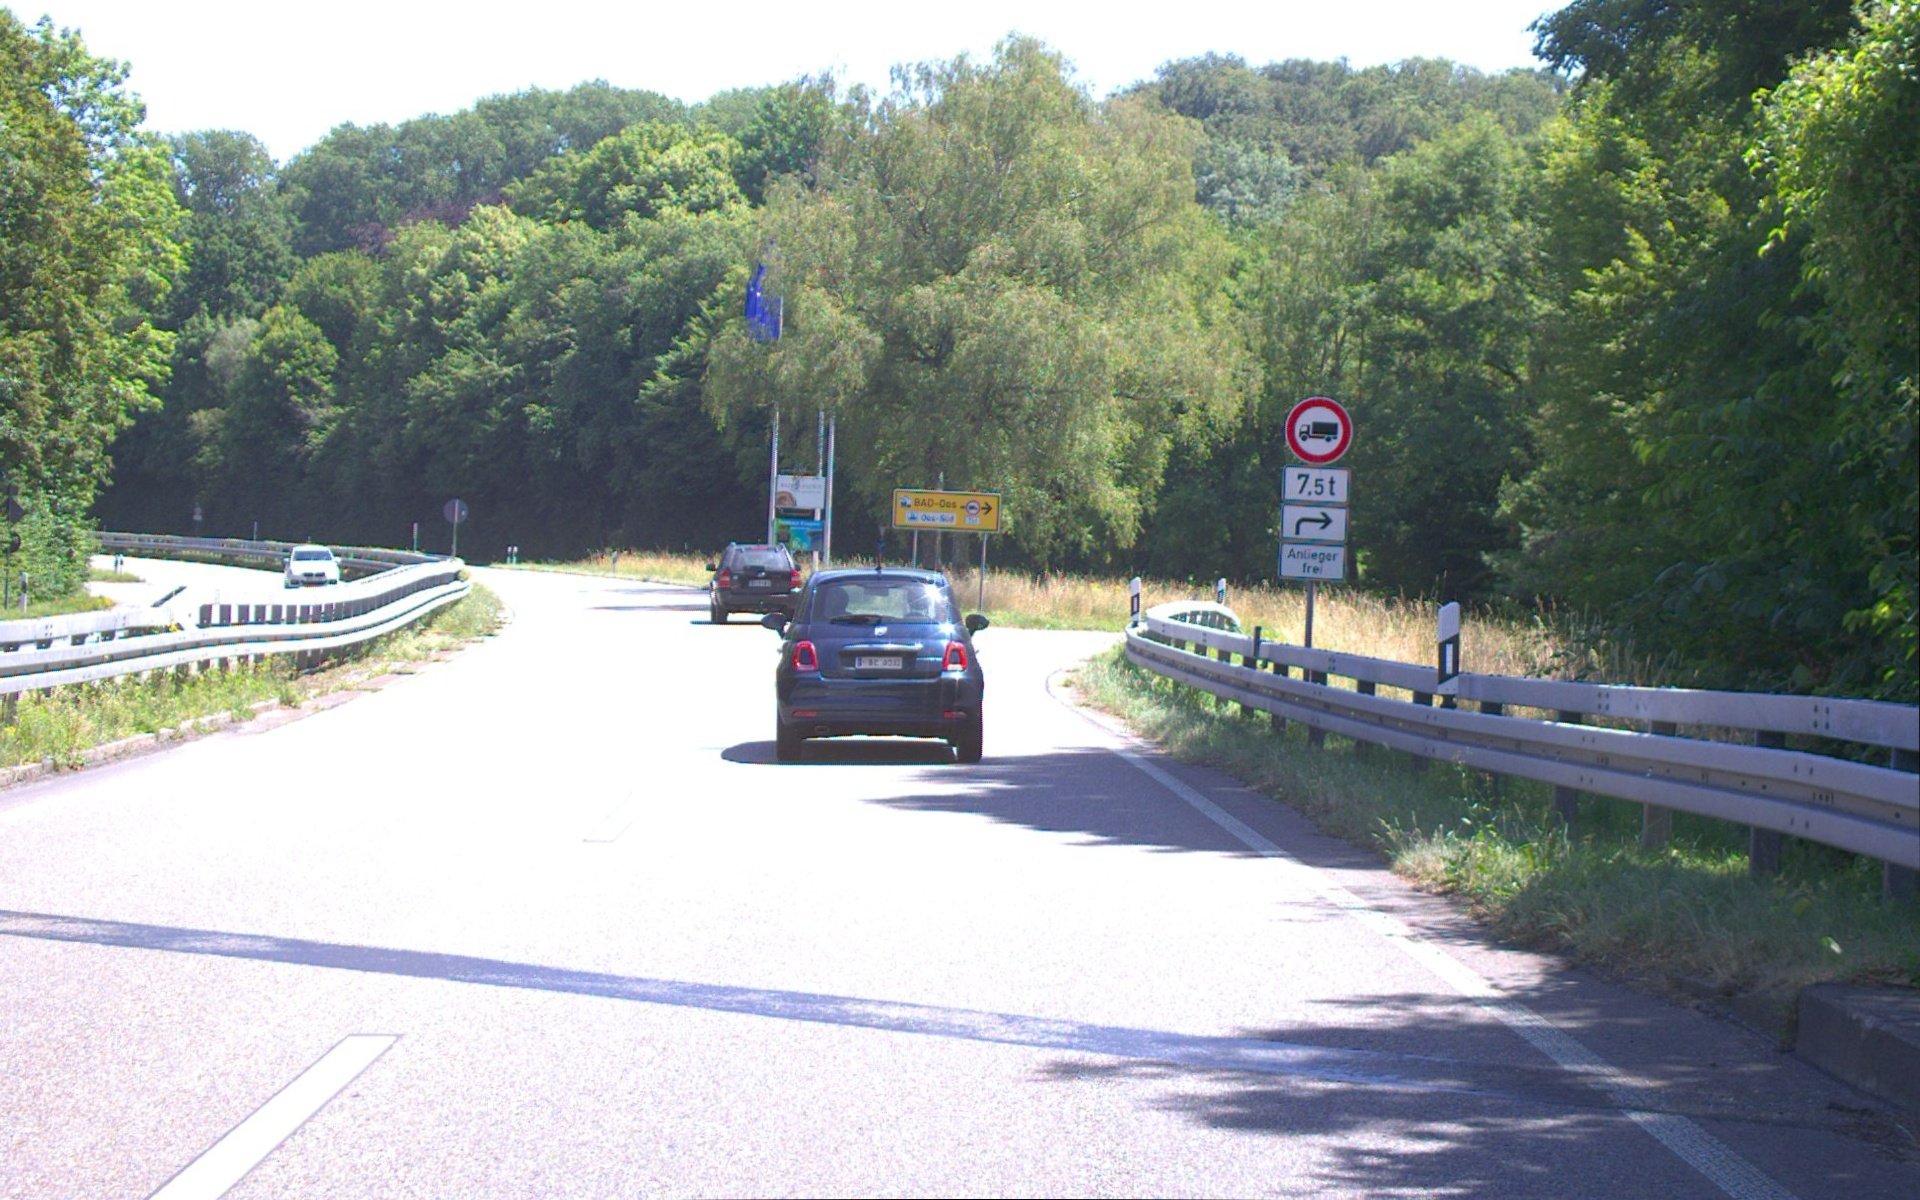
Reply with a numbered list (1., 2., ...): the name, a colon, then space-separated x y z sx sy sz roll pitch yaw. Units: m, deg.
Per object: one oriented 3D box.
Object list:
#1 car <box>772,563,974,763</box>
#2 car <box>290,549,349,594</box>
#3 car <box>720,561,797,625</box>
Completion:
1. car: -0.685 0.456 27.690 1.513 1.496 3.590 0 1 -1
2. car: -22.815 -1.034 122.647 1.755 1.567 4.415 0 1 -6
3. car: -4.292 -0.159 72.930 1.525 1.309 3.415 0 1 -5
